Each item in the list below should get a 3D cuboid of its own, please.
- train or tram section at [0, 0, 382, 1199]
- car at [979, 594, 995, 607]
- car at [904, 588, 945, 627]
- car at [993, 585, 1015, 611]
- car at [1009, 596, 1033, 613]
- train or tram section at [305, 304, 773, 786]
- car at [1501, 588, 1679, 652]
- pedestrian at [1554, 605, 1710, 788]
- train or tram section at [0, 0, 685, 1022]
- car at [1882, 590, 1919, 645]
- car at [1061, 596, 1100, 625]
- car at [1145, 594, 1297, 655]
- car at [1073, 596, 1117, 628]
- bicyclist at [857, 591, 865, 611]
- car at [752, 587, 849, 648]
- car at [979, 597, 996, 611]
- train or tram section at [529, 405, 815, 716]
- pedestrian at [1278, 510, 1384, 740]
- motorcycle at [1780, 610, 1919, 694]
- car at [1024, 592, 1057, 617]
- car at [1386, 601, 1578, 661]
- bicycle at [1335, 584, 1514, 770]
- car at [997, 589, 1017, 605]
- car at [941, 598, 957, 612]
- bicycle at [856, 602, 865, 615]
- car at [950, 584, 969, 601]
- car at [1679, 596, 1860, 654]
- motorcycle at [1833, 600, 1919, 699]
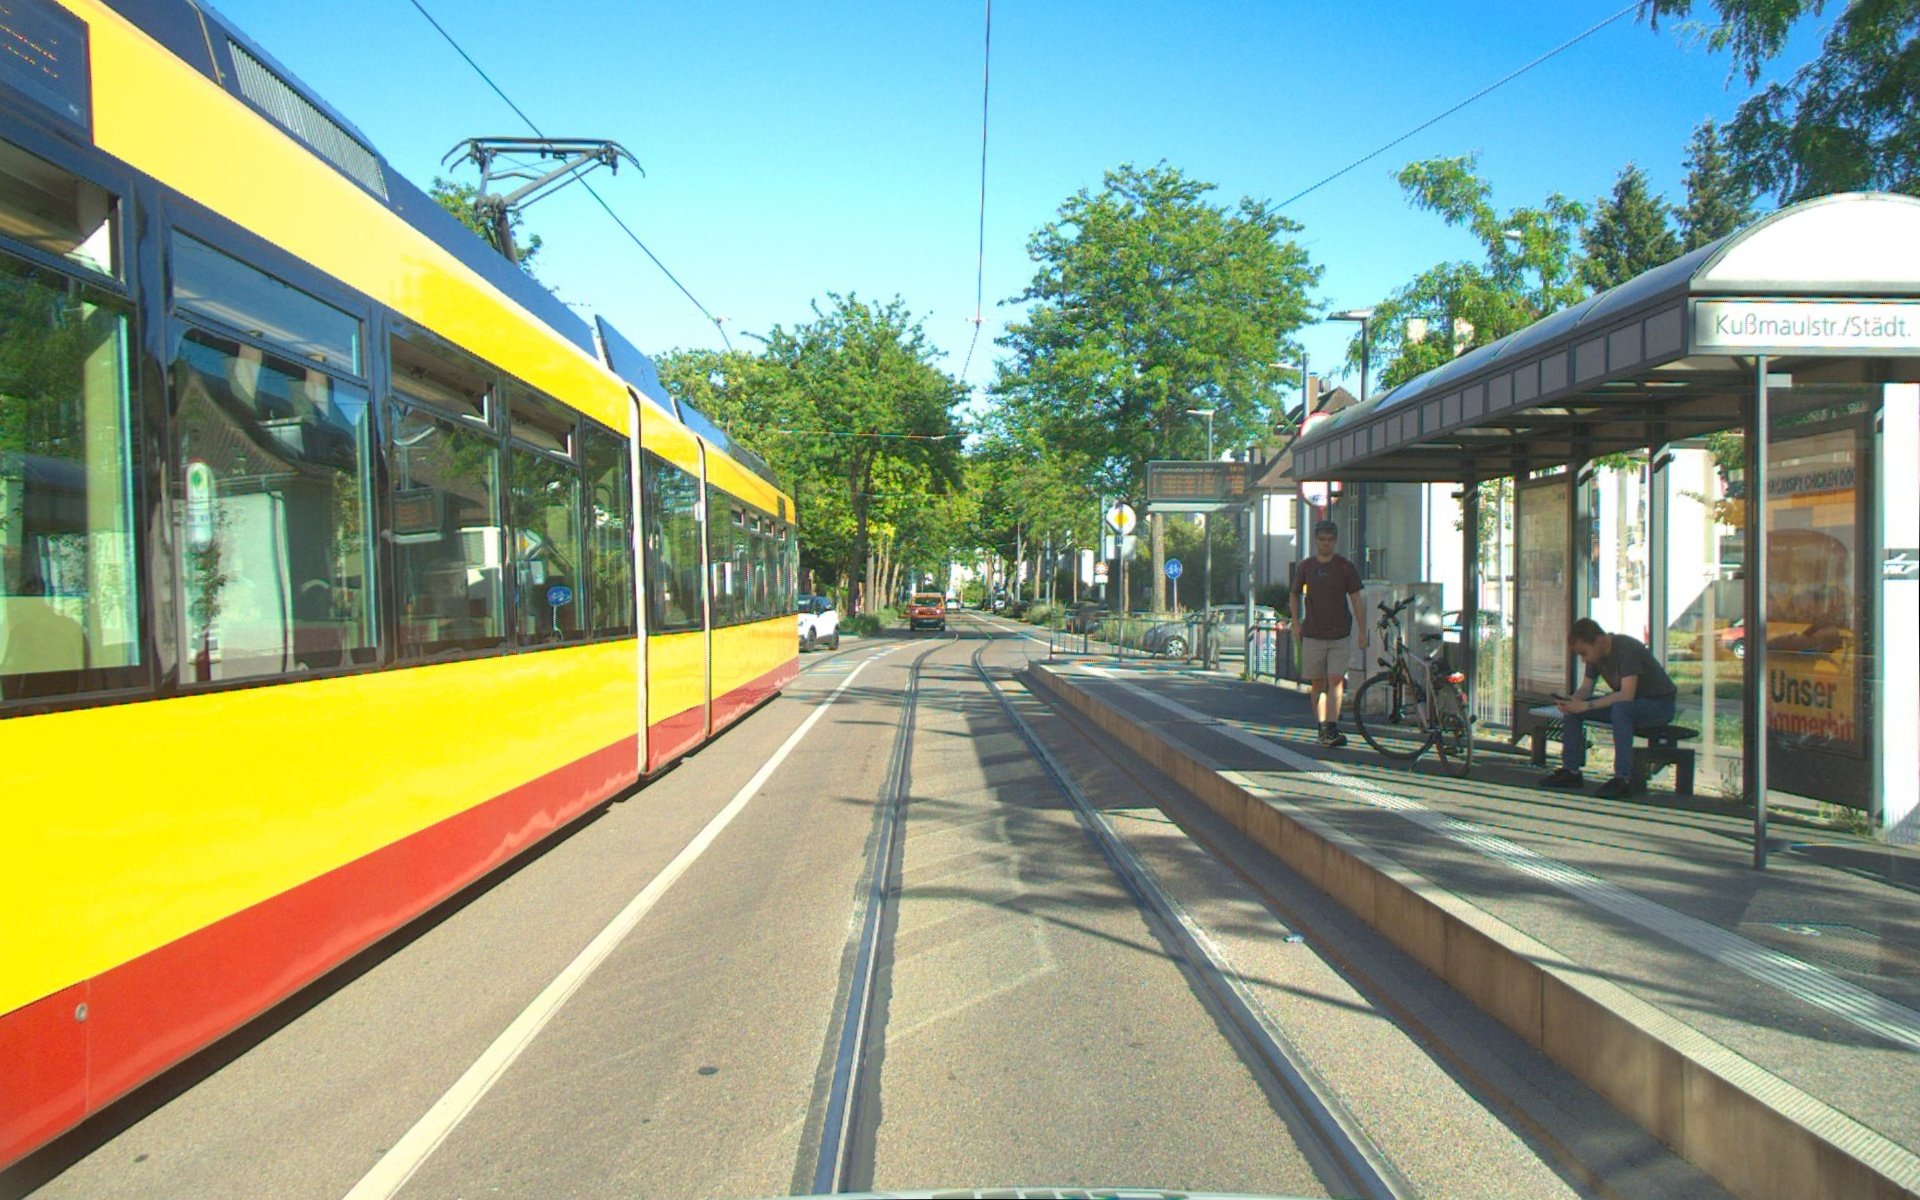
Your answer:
[{"bbox_3d":[-3.246,-0.347,2.107,2.747,3.520,6.667,1,0,-1],"label":"train or tram section"},{"bbox_3d":[3.776,0.102,229.057,1.961,1.704,4.394,-2,0,3],"label":"car"},{"bbox_3d":[-1.914,0.358,87.271,1.954,2.000,4.930,0,0,-4],"label":"car"},{"bbox_3d":[4.748,-0.218,179.376,2.200,2.700,5.583,0,0,-1],"label":"car"},{"bbox_3d":[5.456,0.391,148.360,1.748,1.473,4.299,-3,0,-3],"label":"car"},{"bbox_3d":[-3.473,-0.416,15.516,2.747,3.520,6.667,1,0,-1],"label":"train or tram section"},{"bbox_3d":[17.059,0.531,44.889,4.079,1.670,1.981,1,0,-3],"label":"car"},{"bbox_3d":[4.397,0.615,10.854,0.723,1.137,0.658,2,0,-2],"label":"pedestrian"},{"bbox_3d":[-3.360,-0.382,8.821,2.747,3.520,6.667,1,0,-1],"label":"train or tram section"},{"bbox_3d":[28.356,0.497,46.552,4.099,1.534,1.972,0,0,-19],"label":"car"},{"bbox_3d":[6.450,0.546,89.121,1.713,1.521,3.995,-1,0,-1],"label":"car"},{"bbox_3d":[6.975,0.637,44.313,3.902,1.534,1.984,1,0,9],"label":"car"},{"bbox_3d":[6.779,0.581,83.336,1.713,1.521,4.442,-1,0,-1],"label":"car"},{"bbox_3d":[-7.677,0.106,128.419,0.581,1.554,1.061,0,0,0],"label":"bicyclist"},{"bbox_3d":[-4.563,0.472,47.781,1.727,1.693,4.214,0,0,10],"label":"car"},{"bbox_3d":[3.485,0.522,211.544,1.962,1.704,4.391,-2,0,-1],"label":"car"},{"bbox_3d":[-3.574,-0.464,22.215,2.747,3.520,6.667,1,0,-1],"label":"train or tram section"},{"bbox_3d":[3.135,0.204,14.022,0.696,1.886,0.729,2,0,0],"label":"pedestrian"},{"bbox_3d":[13.099,0.735,24.048,1.960,1.178,0.860,0,0,-8],"label":"motorcycle"},{"bbox_3d":[5.919,0.318,121.819,1.954,1.734,4.475,-3,0,-2],"label":"car"},{"bbox_3d":[13.394,0.812,42.709,4.505,1.492,1.983,0,-2,10],"label":"car"},{"bbox_3d":[3.369,0.520,12.168,0.607,1.251,1.965,1,0,-5],"label":"bicycle"},{"bbox_3d":[4.492,-0.292,158.011,1.594,1.422,3.644,-3,0,-1],"label":"car"},{"bbox_3d":[-1.388,0.609,202.375,1.828,1.704,4.171,-1,0,-2],"label":"car"},{"bbox_3d":[-7.680,0.648,128.330,0.577,0.977,2.132,0,0,0],"label":"bicycle"},{"bbox_3d":[-0.055,-1.179,257.390,1.960,2.501,4.492,0,0,-14],"label":"car"},{"bbox_3d":[22.275,0.675,45.575,4.083,1.534,1.979,1,0,-7],"label":"car"},{"bbox_3d":[13.102,0.656,22.529,2.038,1.296,0.860,0,0,-8],"label":"motorcycle"}]
